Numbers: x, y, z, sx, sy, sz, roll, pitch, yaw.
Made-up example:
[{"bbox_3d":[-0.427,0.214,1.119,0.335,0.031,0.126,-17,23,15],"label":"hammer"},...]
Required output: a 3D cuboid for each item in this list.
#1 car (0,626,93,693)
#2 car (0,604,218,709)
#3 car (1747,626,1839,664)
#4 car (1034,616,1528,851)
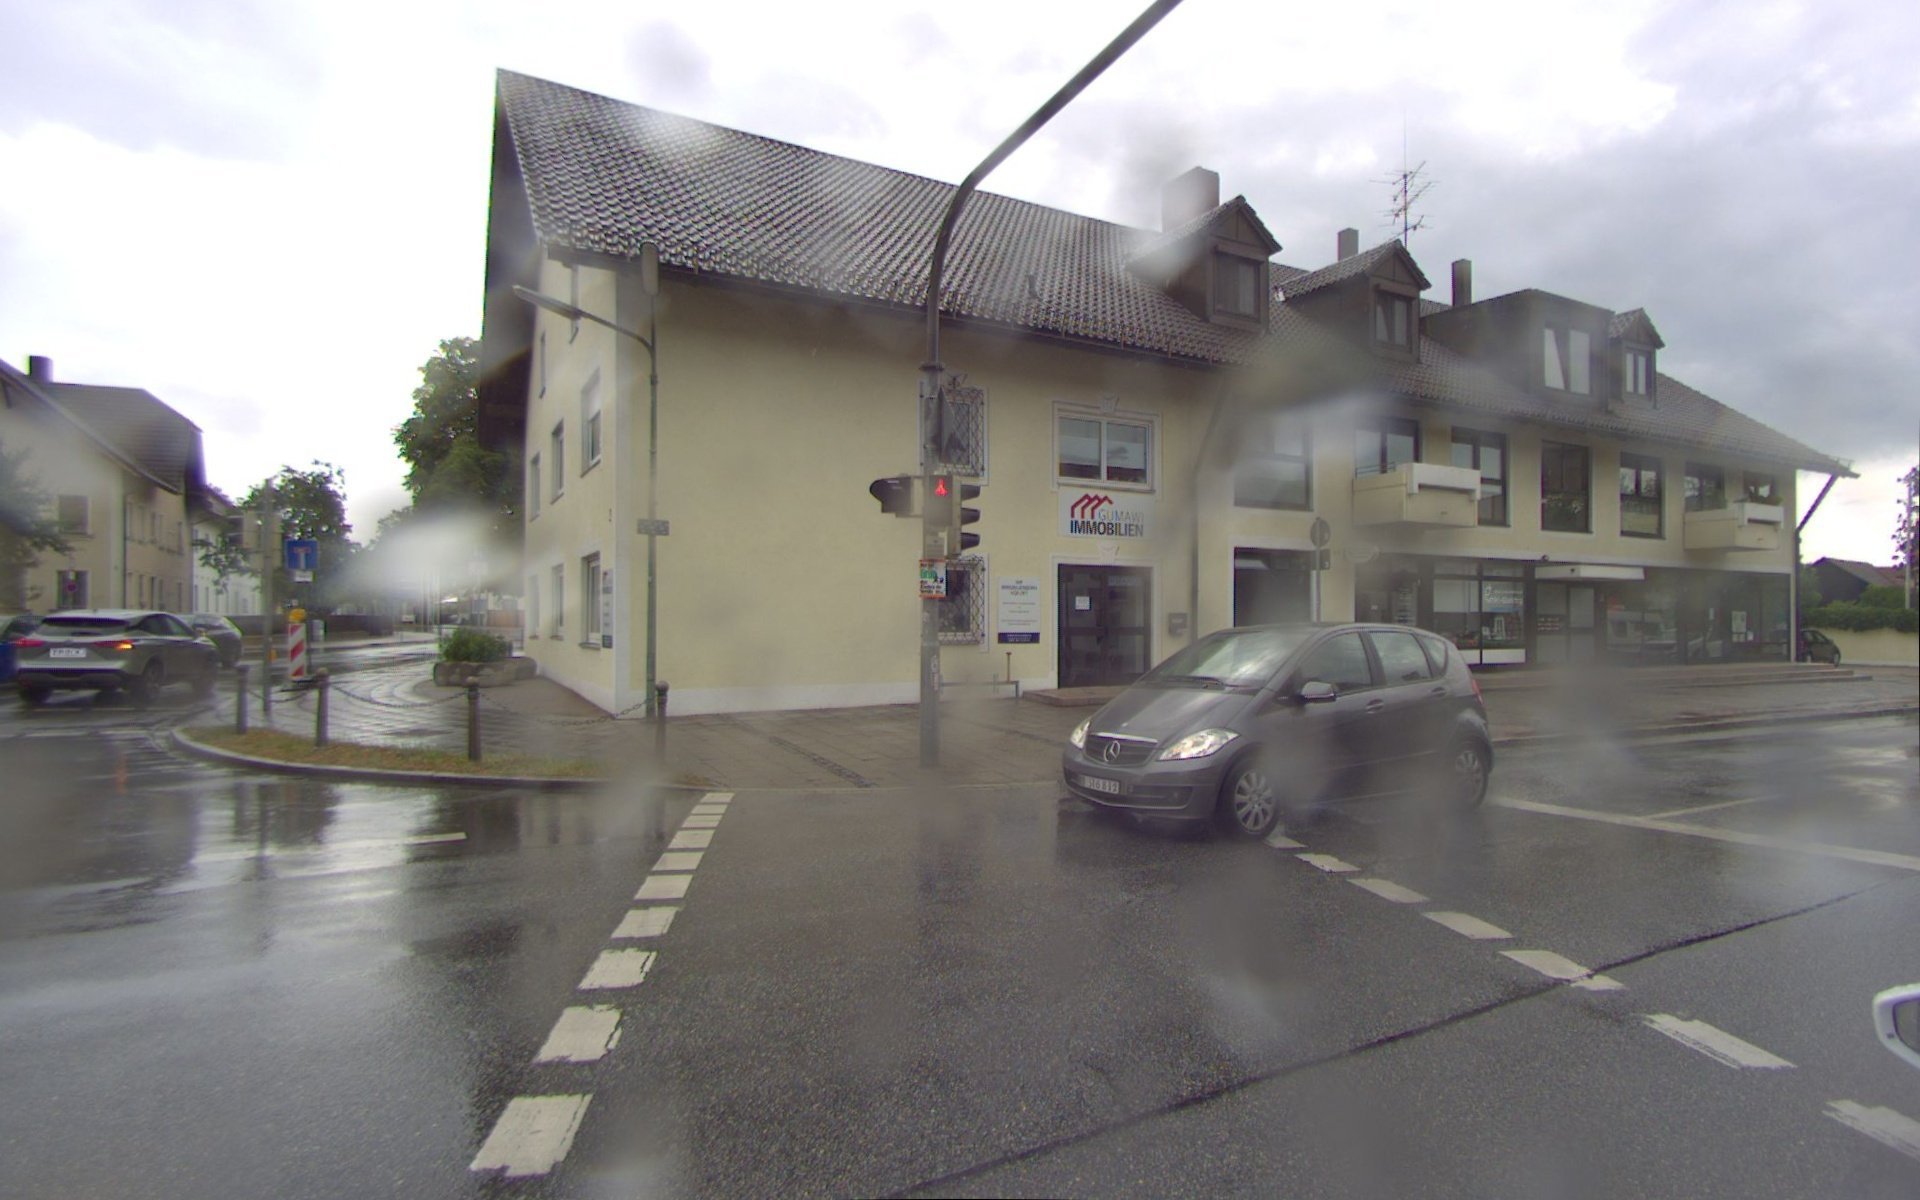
[{"bbox_3d":[-18.804,1.120,19.183,1.661,1.201,4.346,1,-1,-16],"label":"car"},{"bbox_3d":[-15.576,1.015,18.684,2.062,1.695,4.358,2,-3,-27],"label":"car"},{"bbox_3d":[31.798,1.703,38.319,3.467,1.398,1.600,1,-2,-30],"label":"car"},{"bbox_3d":[2.741,0.946,8.467,3.854,1.553,1.907,1,-2,-30],"label":"car"}]
